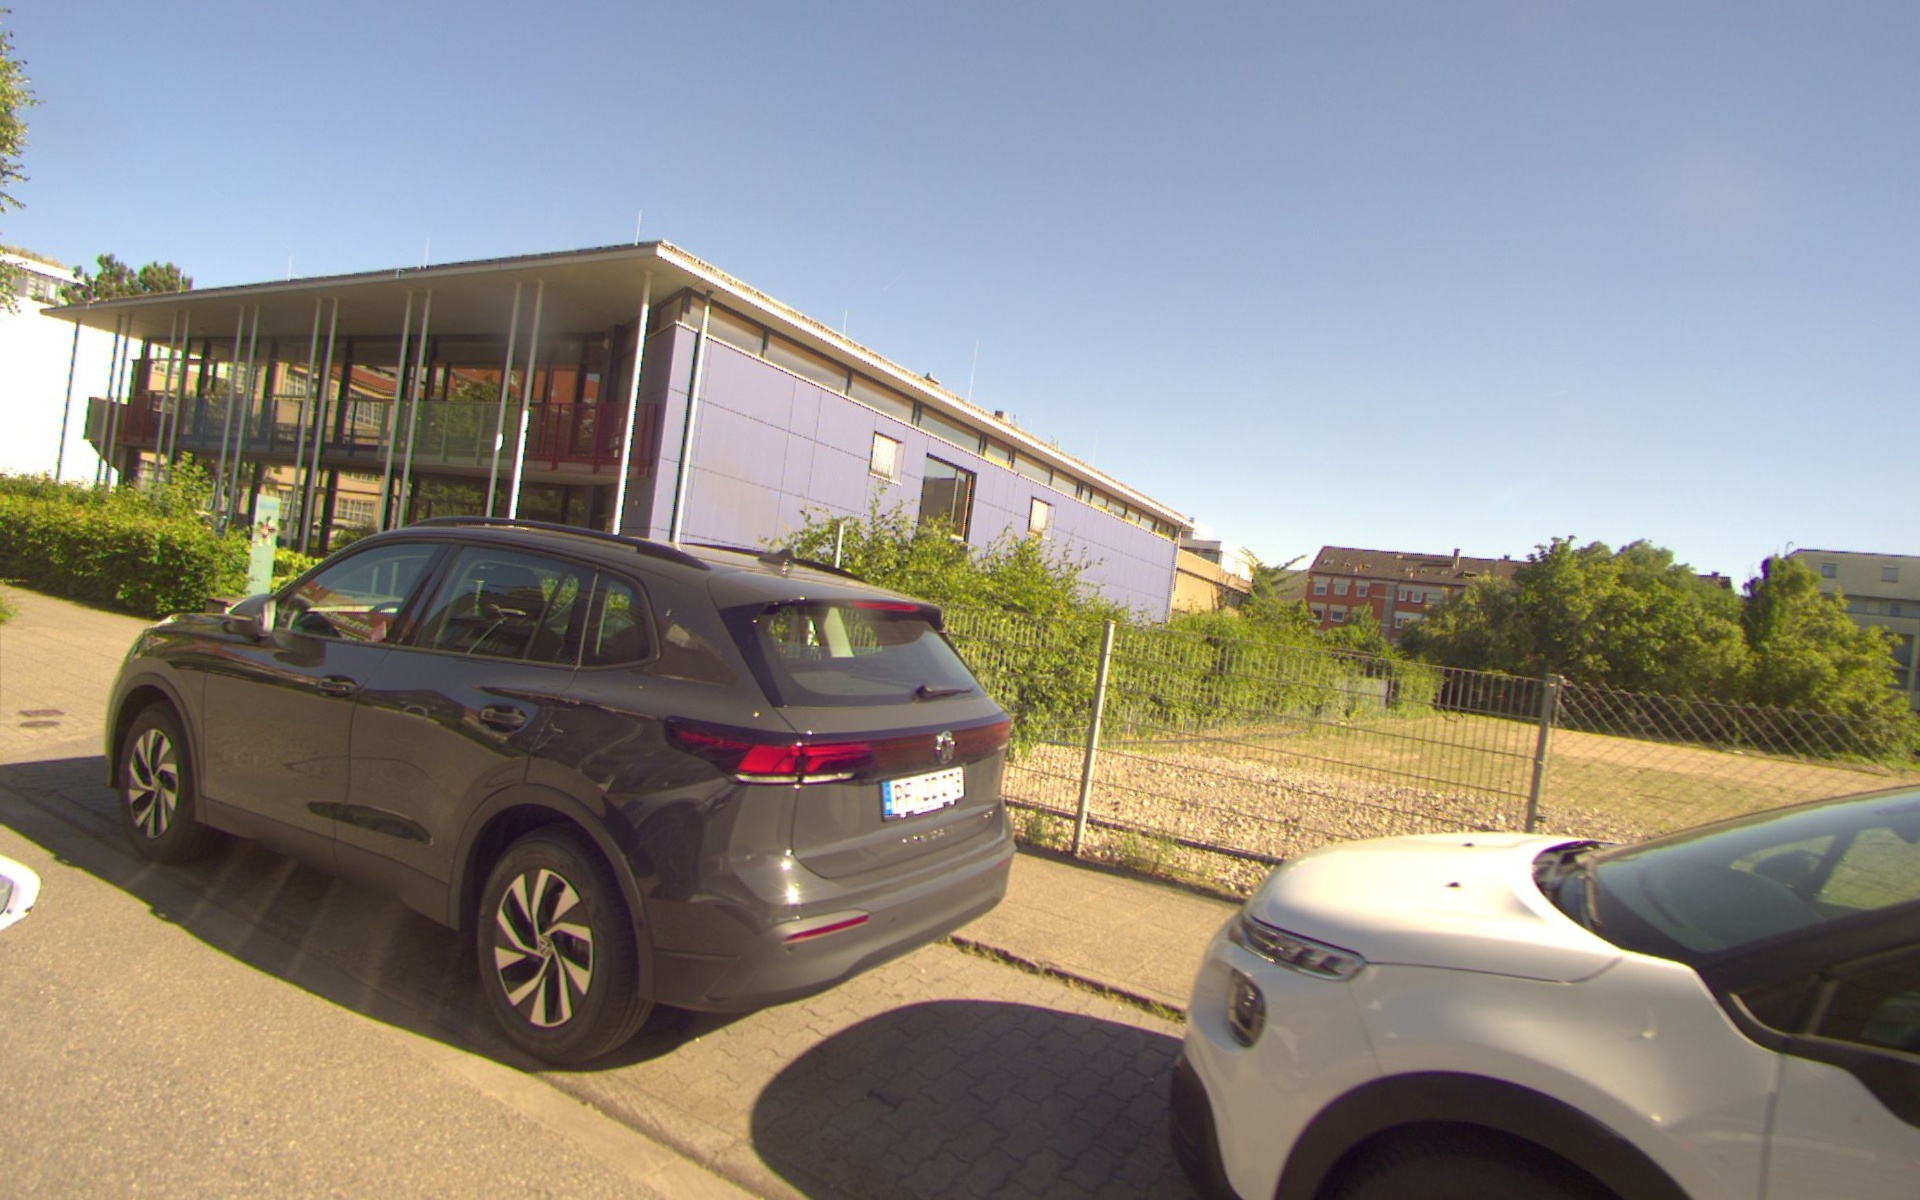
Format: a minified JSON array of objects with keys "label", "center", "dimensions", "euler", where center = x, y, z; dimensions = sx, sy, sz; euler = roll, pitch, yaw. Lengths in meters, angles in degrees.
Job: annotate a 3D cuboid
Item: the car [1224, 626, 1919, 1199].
[{"label":"car","center":[2.663,1.129,1.934],"dimensions":[3.784,1.560,1.683],"euler":[8,0,31]}]
